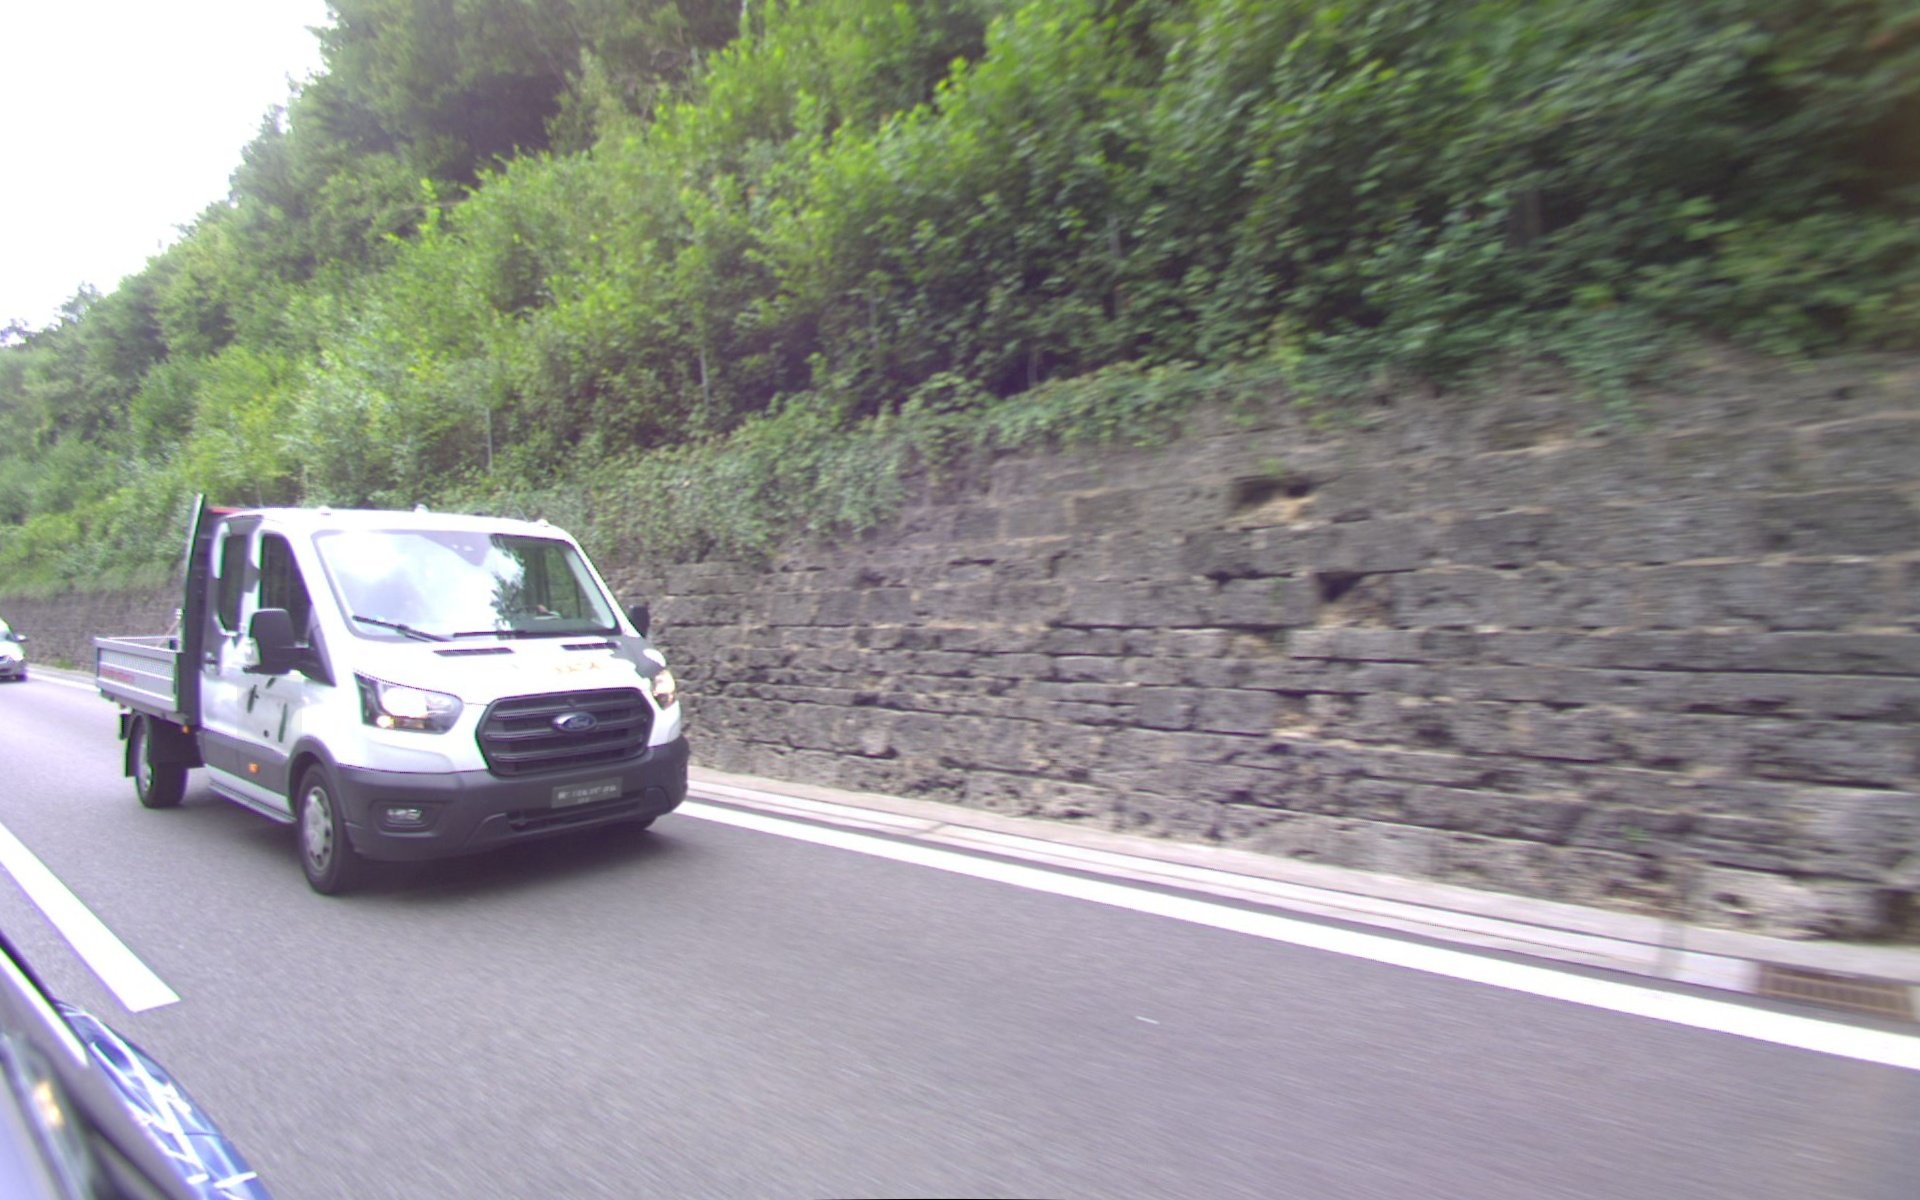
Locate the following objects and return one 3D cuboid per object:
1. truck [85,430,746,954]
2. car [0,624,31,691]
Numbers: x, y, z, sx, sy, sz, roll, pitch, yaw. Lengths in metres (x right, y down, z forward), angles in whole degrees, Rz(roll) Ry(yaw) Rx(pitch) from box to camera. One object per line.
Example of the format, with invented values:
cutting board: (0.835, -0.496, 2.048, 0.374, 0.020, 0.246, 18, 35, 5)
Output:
truck: (-4.409, 0.466, 7.343, 6.581, 2.297, 1.973, -2, -1, 41)
car: (-25.016, 1.441, 25.610, 4.599, 1.589, 1.689, -2, -1, 41)
